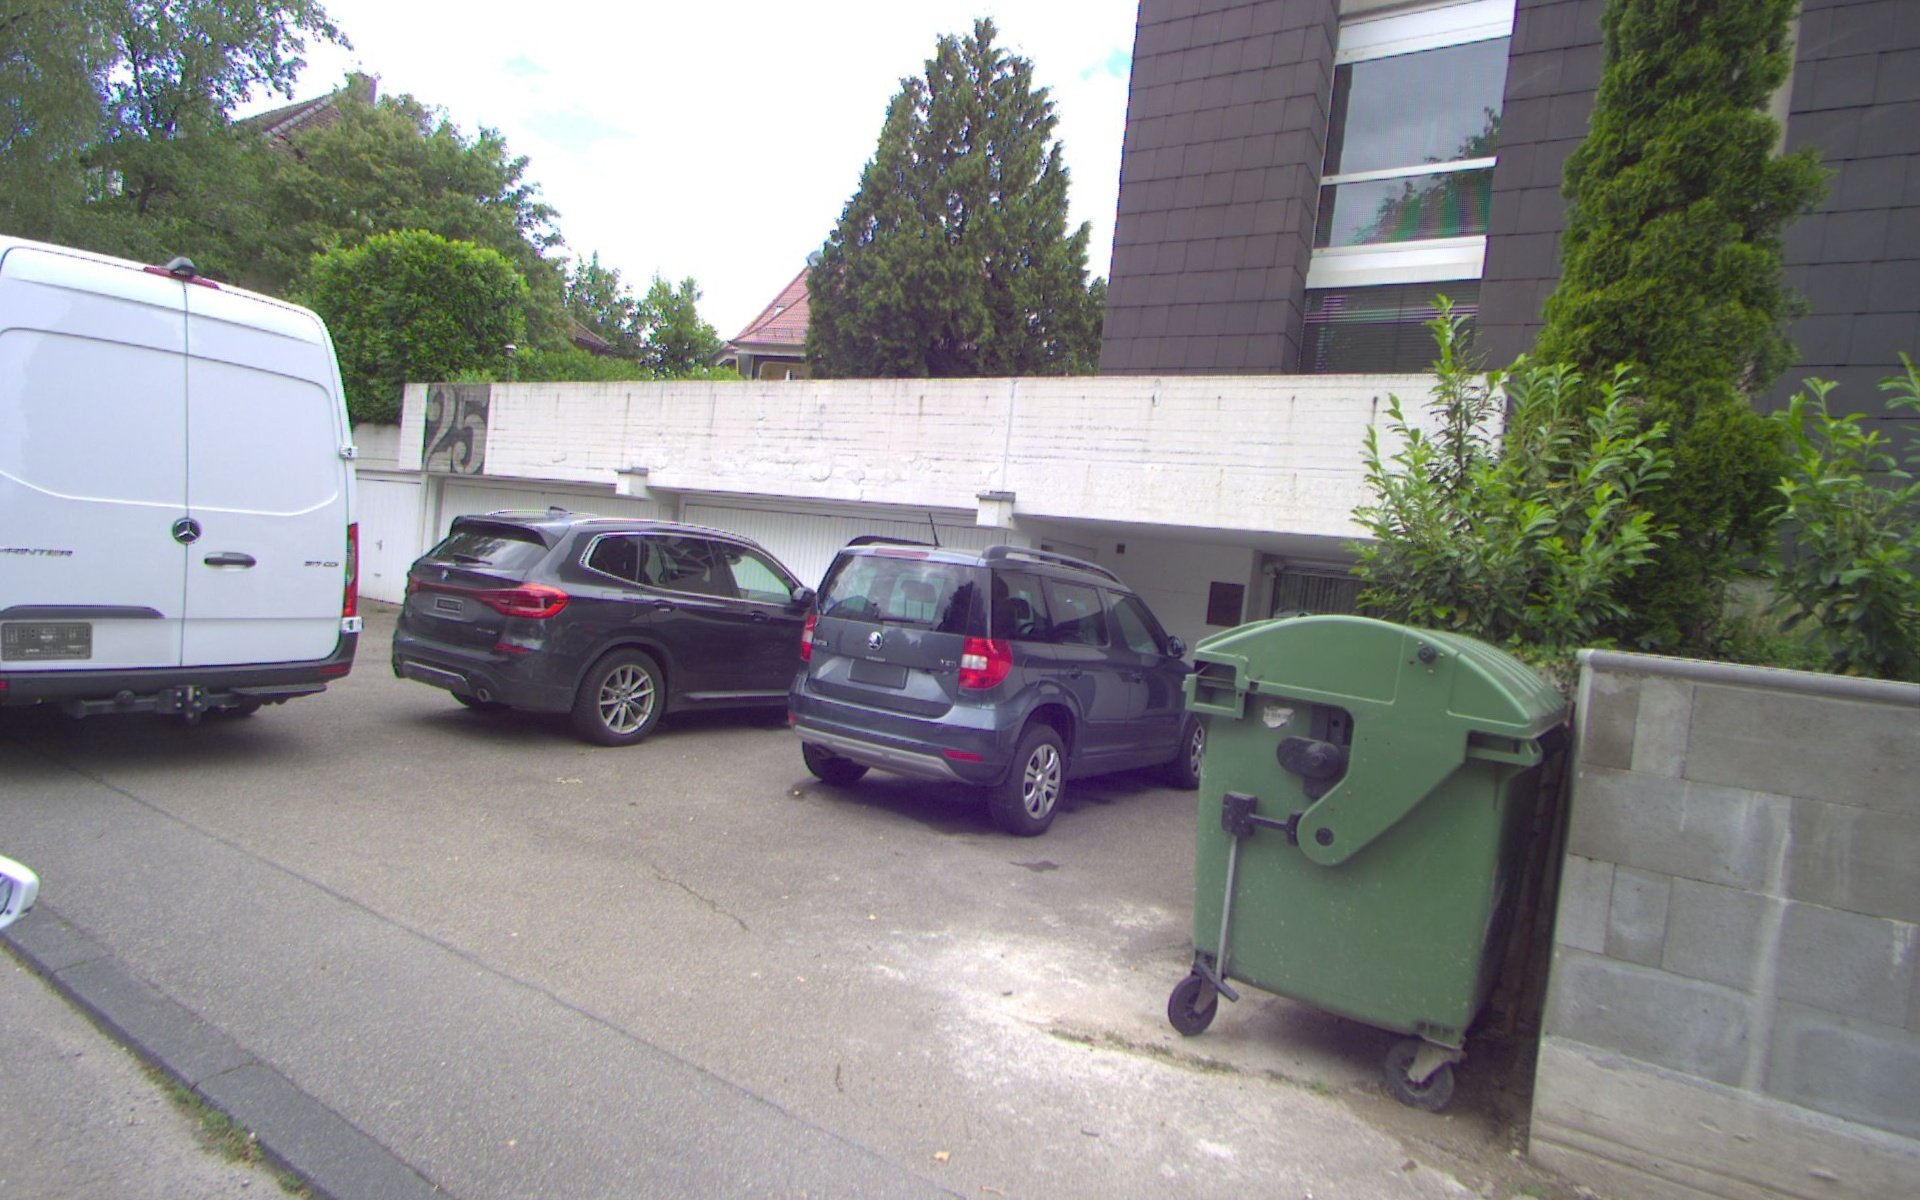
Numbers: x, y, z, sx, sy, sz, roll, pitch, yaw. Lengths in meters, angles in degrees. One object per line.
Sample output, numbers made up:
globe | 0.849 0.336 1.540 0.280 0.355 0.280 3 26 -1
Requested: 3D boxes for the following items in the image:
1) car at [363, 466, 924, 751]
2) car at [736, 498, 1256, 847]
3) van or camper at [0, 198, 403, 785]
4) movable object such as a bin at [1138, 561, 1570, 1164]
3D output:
car | -2.356 0.122 8.684 1.710 1.772 4.419 7 1 33
car | 0.539 0.453 7.403 1.804 1.772 3.973 7 1 35
van or camper | -6.699 -0.738 6.907 6.432 2.653 1.995 7 1 32
movable object such as a bin | 1.358 0.726 3.398 1.016 1.550 1.034 7 1 33
